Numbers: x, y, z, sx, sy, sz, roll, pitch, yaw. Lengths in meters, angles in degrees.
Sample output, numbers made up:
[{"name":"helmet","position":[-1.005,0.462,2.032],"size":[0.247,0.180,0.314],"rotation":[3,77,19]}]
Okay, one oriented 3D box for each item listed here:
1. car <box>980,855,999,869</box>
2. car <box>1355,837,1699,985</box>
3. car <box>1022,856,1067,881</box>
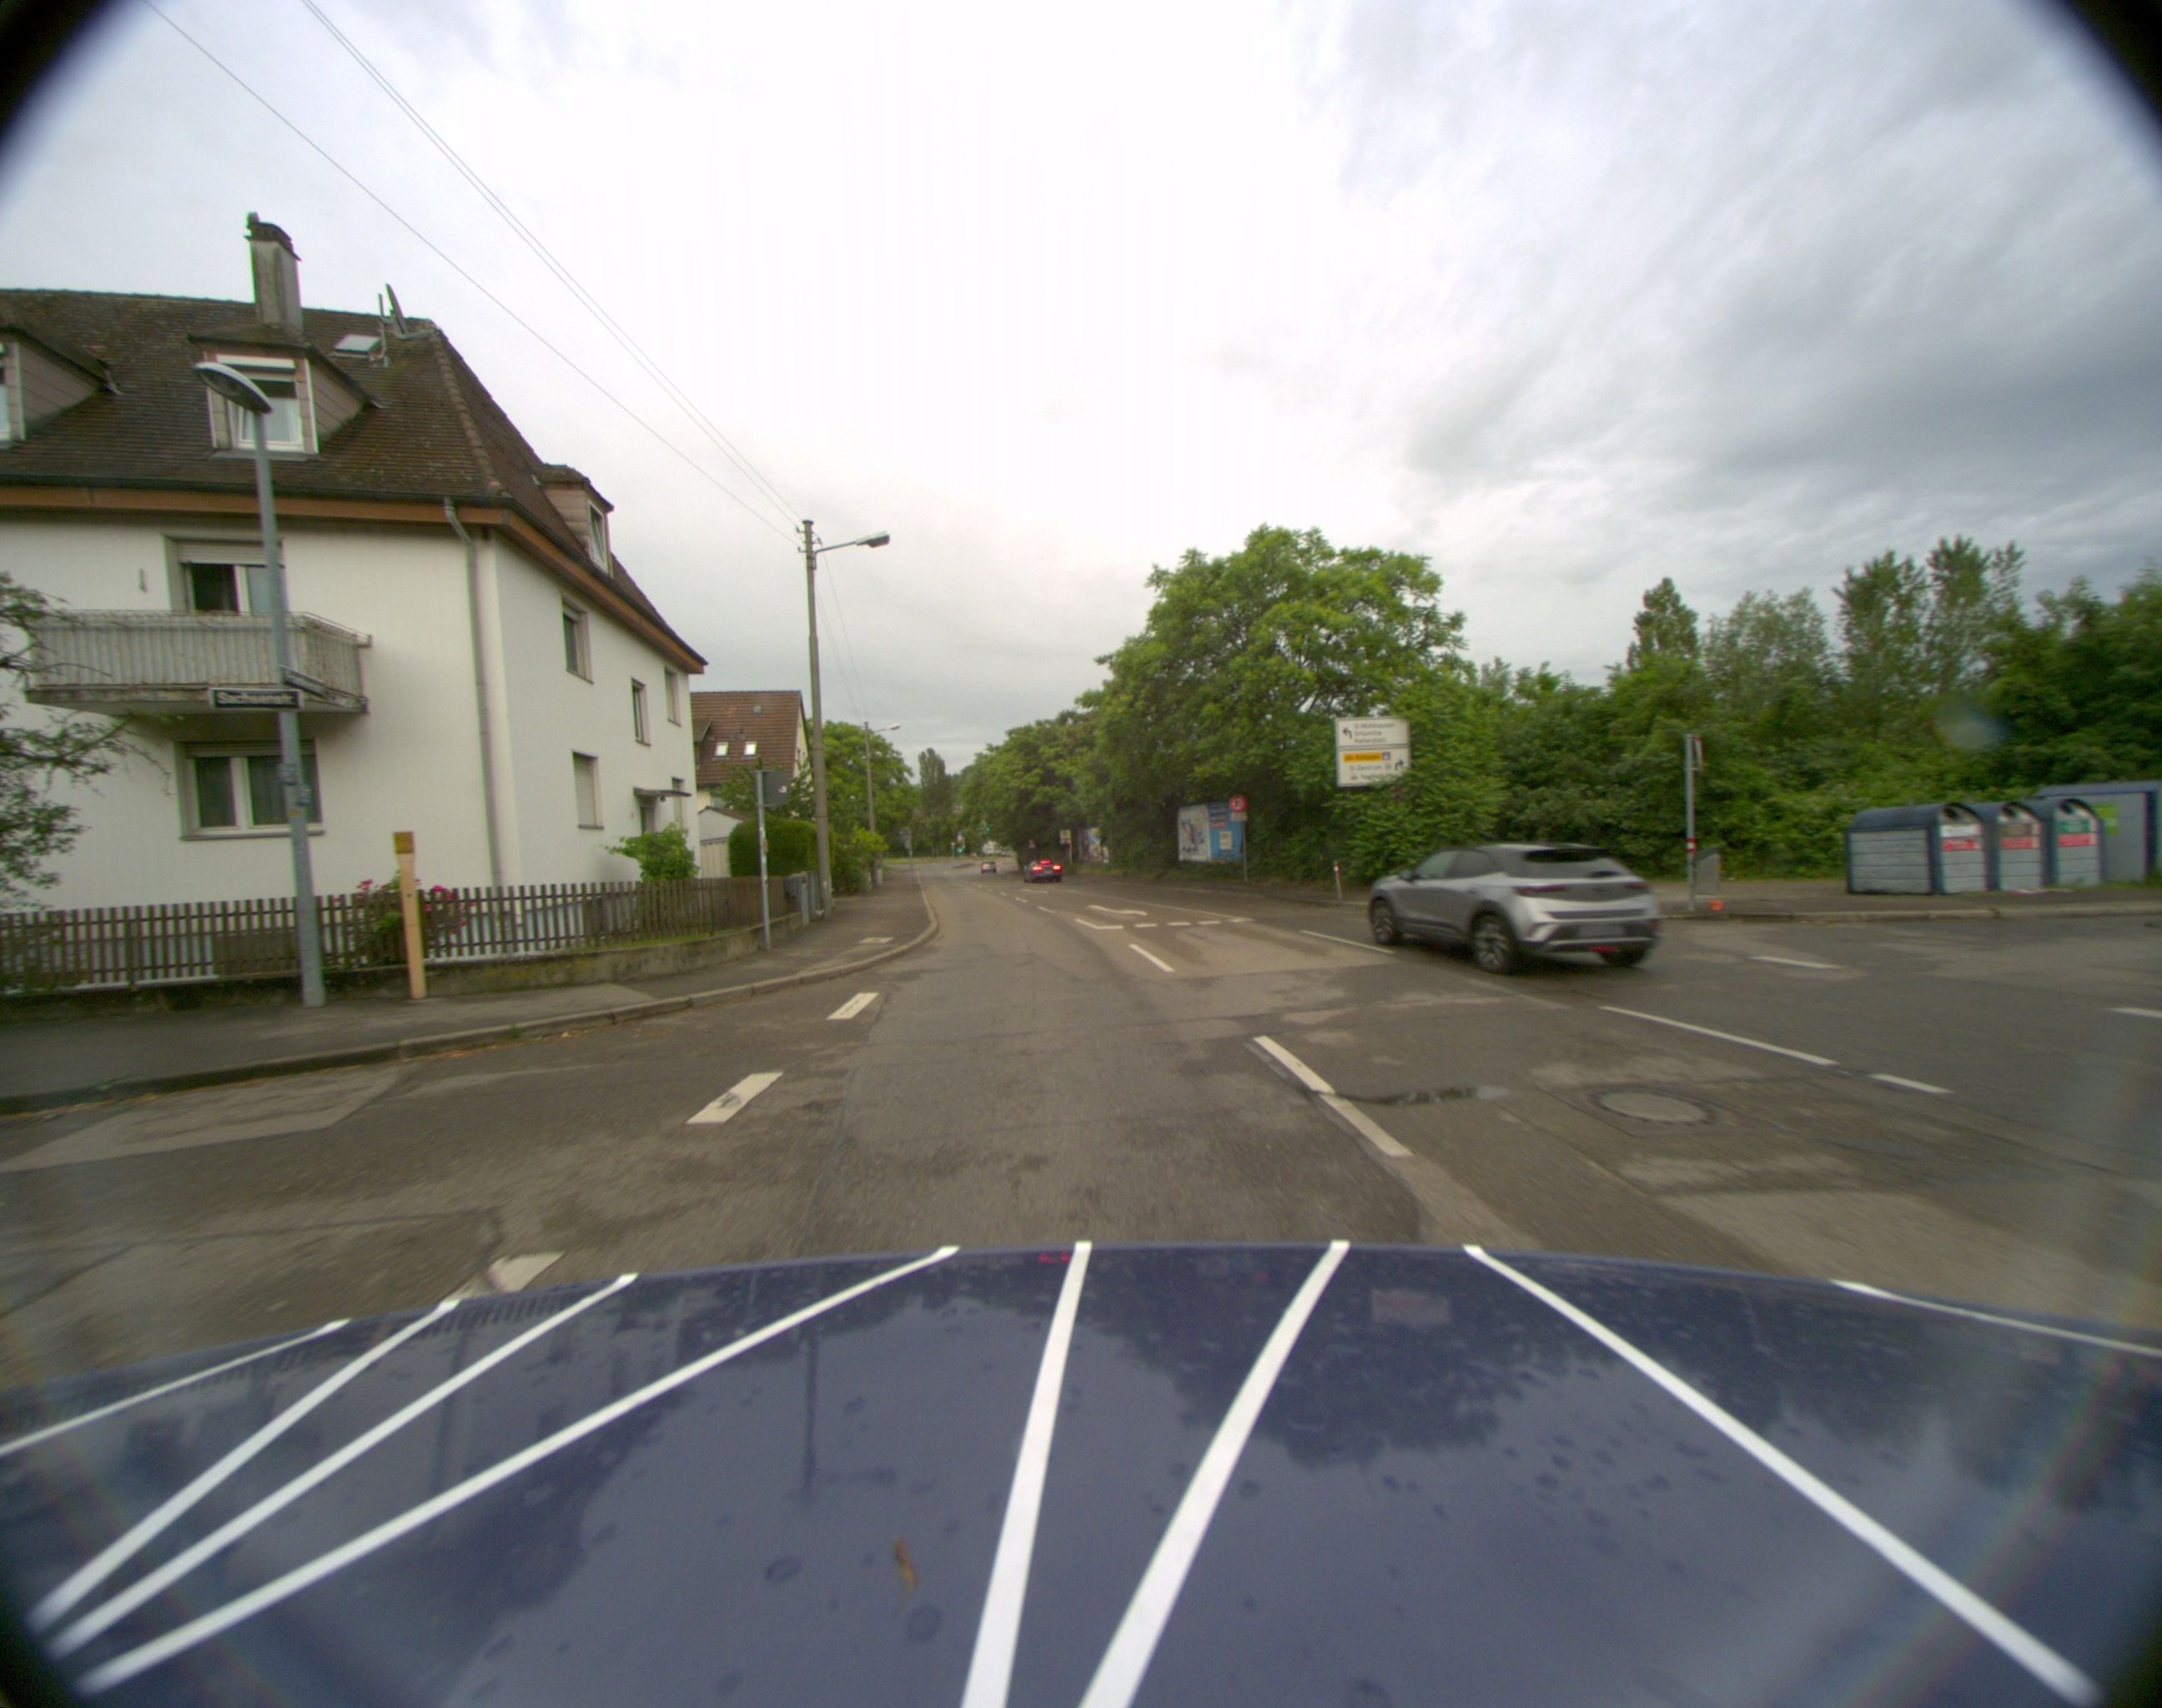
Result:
[{"name":"car","position":[-10.629,0.925,88.414],"size":[1.675,1.460,3.775],"rotation":[-3,1,-14]},{"name":"car","position":[5.387,0.591,9.909],"size":[1.900,1.453,3.998],"rotation":[-2,0,-4]},{"name":"car","position":[-2.424,0.904,48.802],"size":[2.001,1.435,4.769],"rotation":[-2,0,-13]}]
